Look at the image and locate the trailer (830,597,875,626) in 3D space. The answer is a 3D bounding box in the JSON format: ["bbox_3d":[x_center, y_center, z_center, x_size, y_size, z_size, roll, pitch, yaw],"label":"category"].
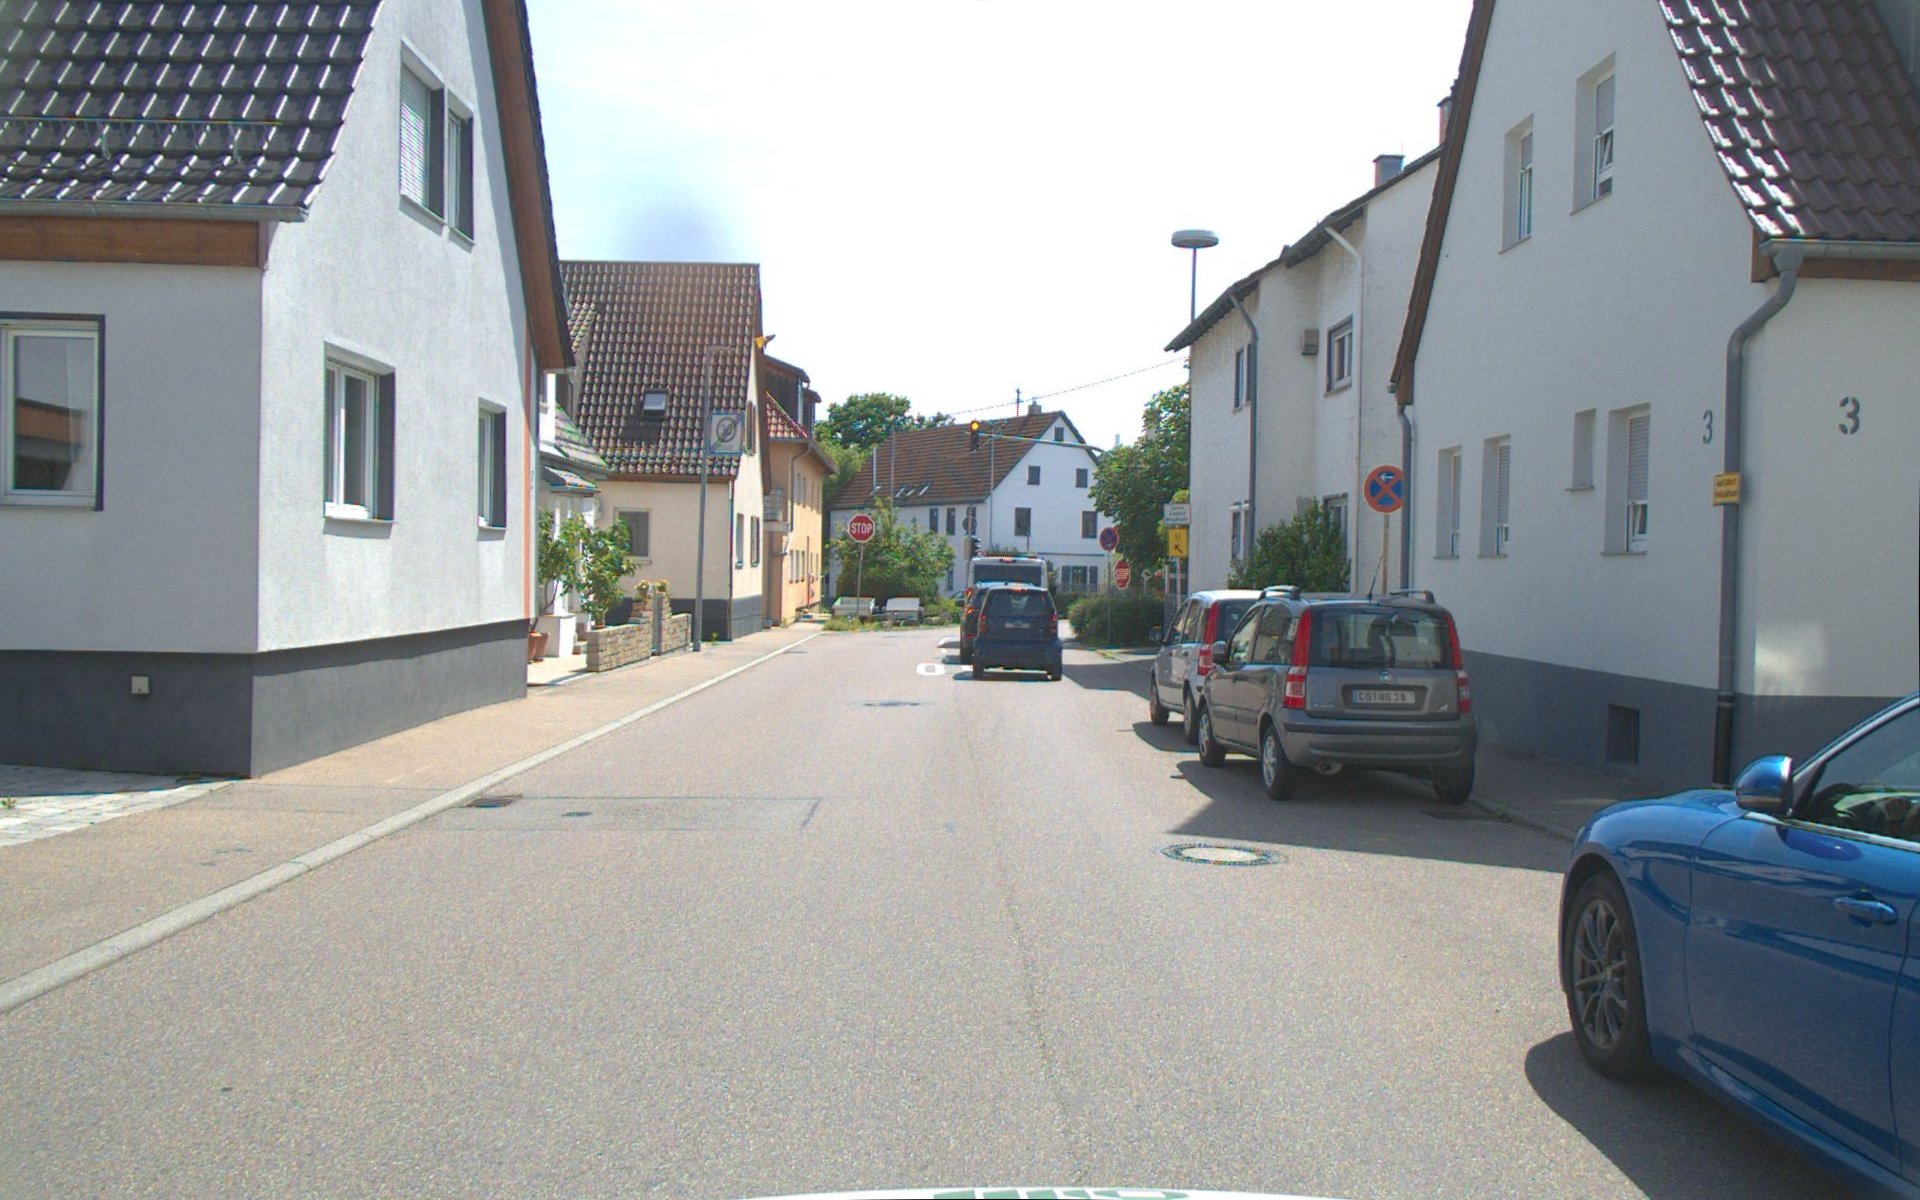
[{"bbox_3d":[-3.794,0.396,58.383,1.471,0.943,1.012,3,0,0],"label":"trailer"}]

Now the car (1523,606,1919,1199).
[{"bbox_3d":[2.934,0.791,3.764,1.727,1.448,4.592,2,0,0],"label":"car"}]

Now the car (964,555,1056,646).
[{"bbox_3d":[1.361,-0.010,42.851,2.084,2.196,4.739,1,0,5],"label":"car"}]

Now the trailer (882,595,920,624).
[{"bbox_3d":[-2.066,0.328,58.337,1.284,0.987,0.933,1,0,0],"label":"trailer"}]

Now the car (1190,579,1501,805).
[{"bbox_3d":[2.998,0.644,13.546,1.536,1.572,3.447,2,0,-3],"label":"car"}]

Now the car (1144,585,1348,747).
[{"bbox_3d":[2.978,0.629,17.803,1.468,1.539,3.360,2,0,-2],"label":"car"}]

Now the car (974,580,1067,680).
[{"bbox_3d":[1.055,0.475,28.786,1.484,1.594,3.185,2,0,2],"label":"car"}]

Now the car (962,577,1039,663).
[{"bbox_3d":[0.846,0.373,33.863,1.484,1.653,3.185,1,0,2],"label":"car"}]
